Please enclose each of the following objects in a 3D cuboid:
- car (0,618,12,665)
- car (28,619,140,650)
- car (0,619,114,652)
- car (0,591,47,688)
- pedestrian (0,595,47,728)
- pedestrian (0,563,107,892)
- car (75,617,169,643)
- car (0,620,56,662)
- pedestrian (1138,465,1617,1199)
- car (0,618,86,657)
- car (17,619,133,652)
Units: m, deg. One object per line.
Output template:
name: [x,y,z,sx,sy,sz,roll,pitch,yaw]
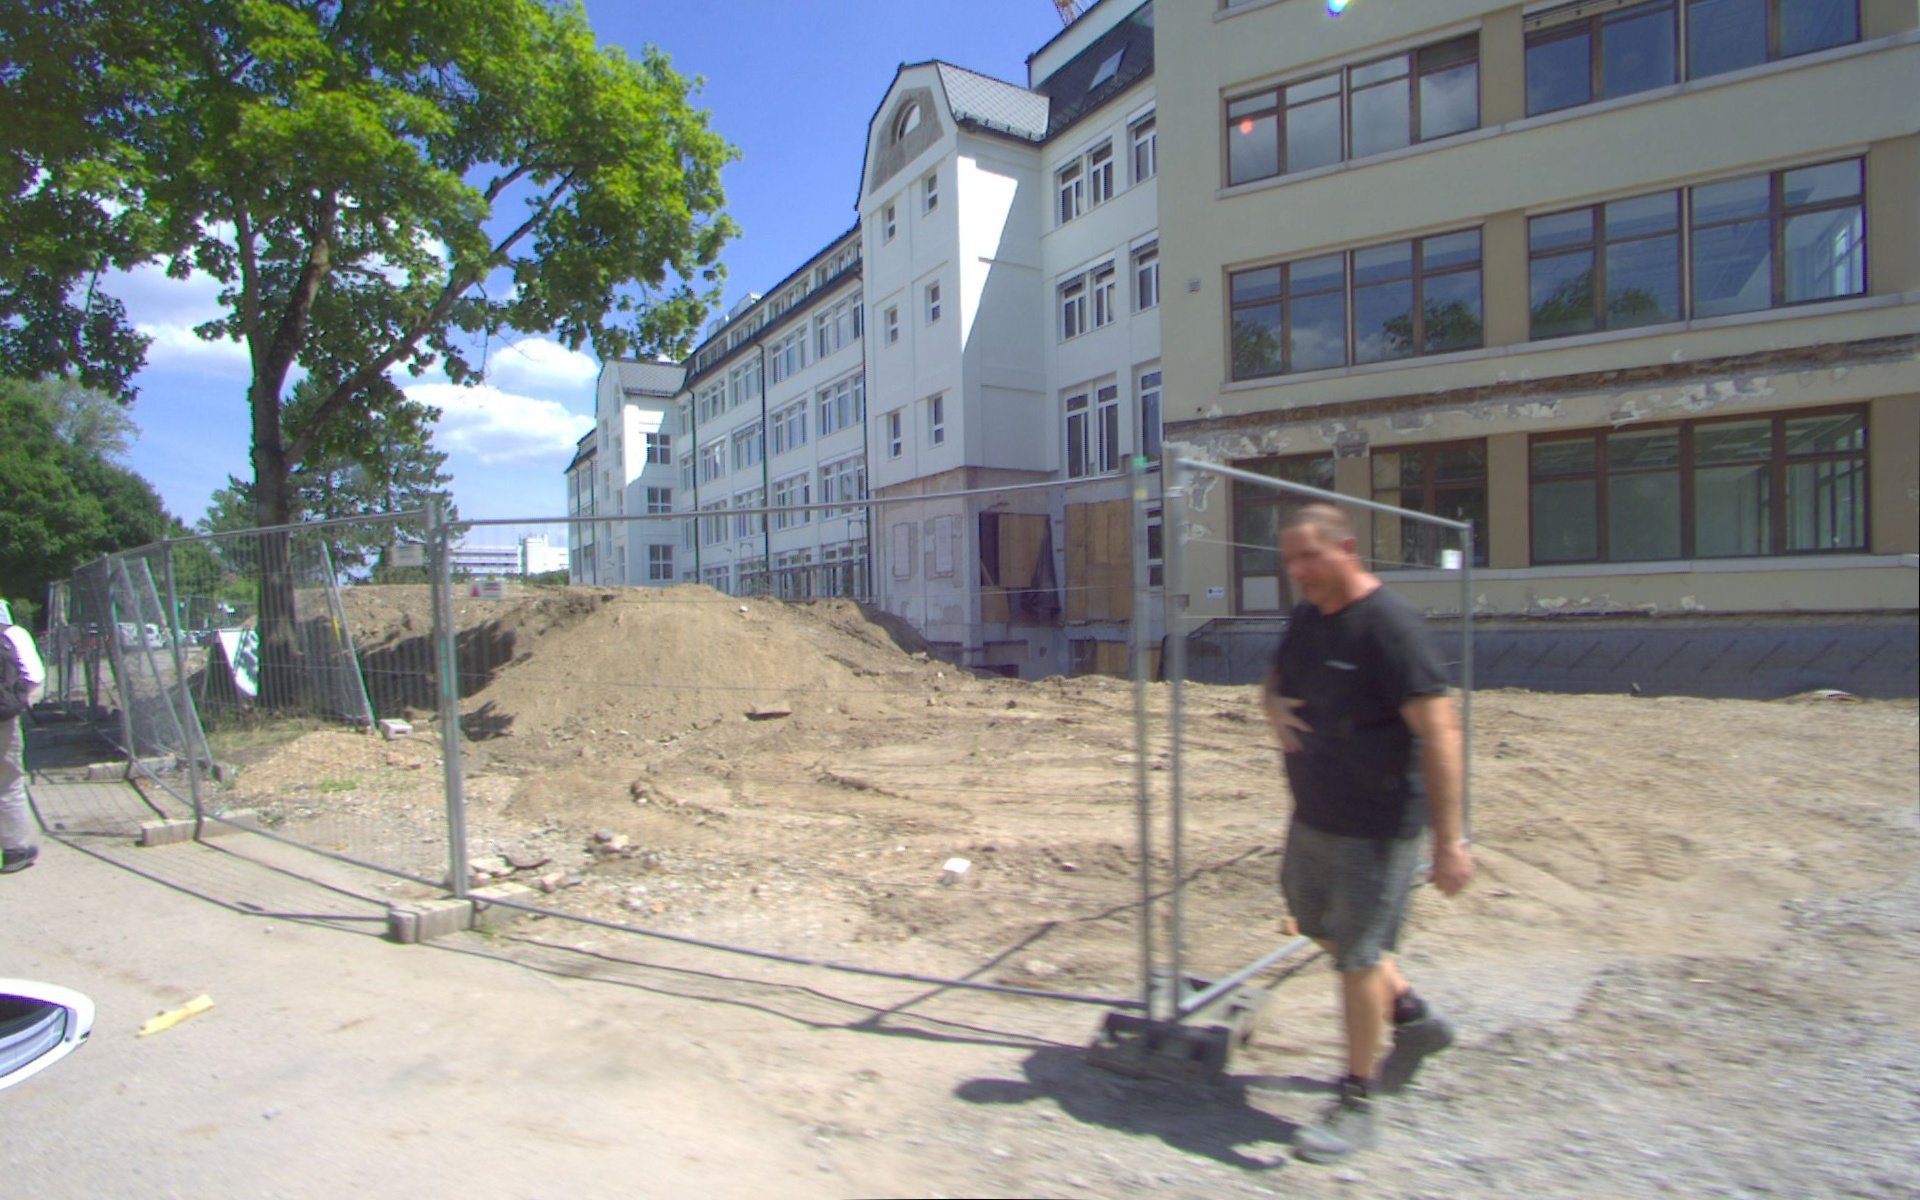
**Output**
car: [-35.446,1.458,33.997,4.460,1.619,1.715,0,0,-34]
car: [-48.967,1.900,56.087,4.460,1.568,1.715,0,0,-34]
car: [-46.580,1.796,51.495,4.460,1.618,1.715,0,-1,-34]
car: [-21.111,0.831,21.086,1.952,1.972,4.554,-1,0,-32]
pedestrian: [-12.460,0.776,12.860,1.028,1.672,1.038,-1,1,-45]
pedestrian: [-5.534,0.682,5.670,1.067,1.752,0.870,0,1,38]
car: [-54.119,1.909,64.785,4.460,1.619,1.715,0,0,-34]
car: [-38.366,1.595,38.968,4.459,1.618,1.925,0,-1,-33]
pedestrian: [1.170,0.616,2.900,0.953,1.843,0.867,-1,0,-27]
car: [-40.958,1.616,43.332,4.460,1.619,1.715,0,0,-34]
car: [-47.629,1.890,54.044,4.460,1.619,1.715,0,0,-34]
